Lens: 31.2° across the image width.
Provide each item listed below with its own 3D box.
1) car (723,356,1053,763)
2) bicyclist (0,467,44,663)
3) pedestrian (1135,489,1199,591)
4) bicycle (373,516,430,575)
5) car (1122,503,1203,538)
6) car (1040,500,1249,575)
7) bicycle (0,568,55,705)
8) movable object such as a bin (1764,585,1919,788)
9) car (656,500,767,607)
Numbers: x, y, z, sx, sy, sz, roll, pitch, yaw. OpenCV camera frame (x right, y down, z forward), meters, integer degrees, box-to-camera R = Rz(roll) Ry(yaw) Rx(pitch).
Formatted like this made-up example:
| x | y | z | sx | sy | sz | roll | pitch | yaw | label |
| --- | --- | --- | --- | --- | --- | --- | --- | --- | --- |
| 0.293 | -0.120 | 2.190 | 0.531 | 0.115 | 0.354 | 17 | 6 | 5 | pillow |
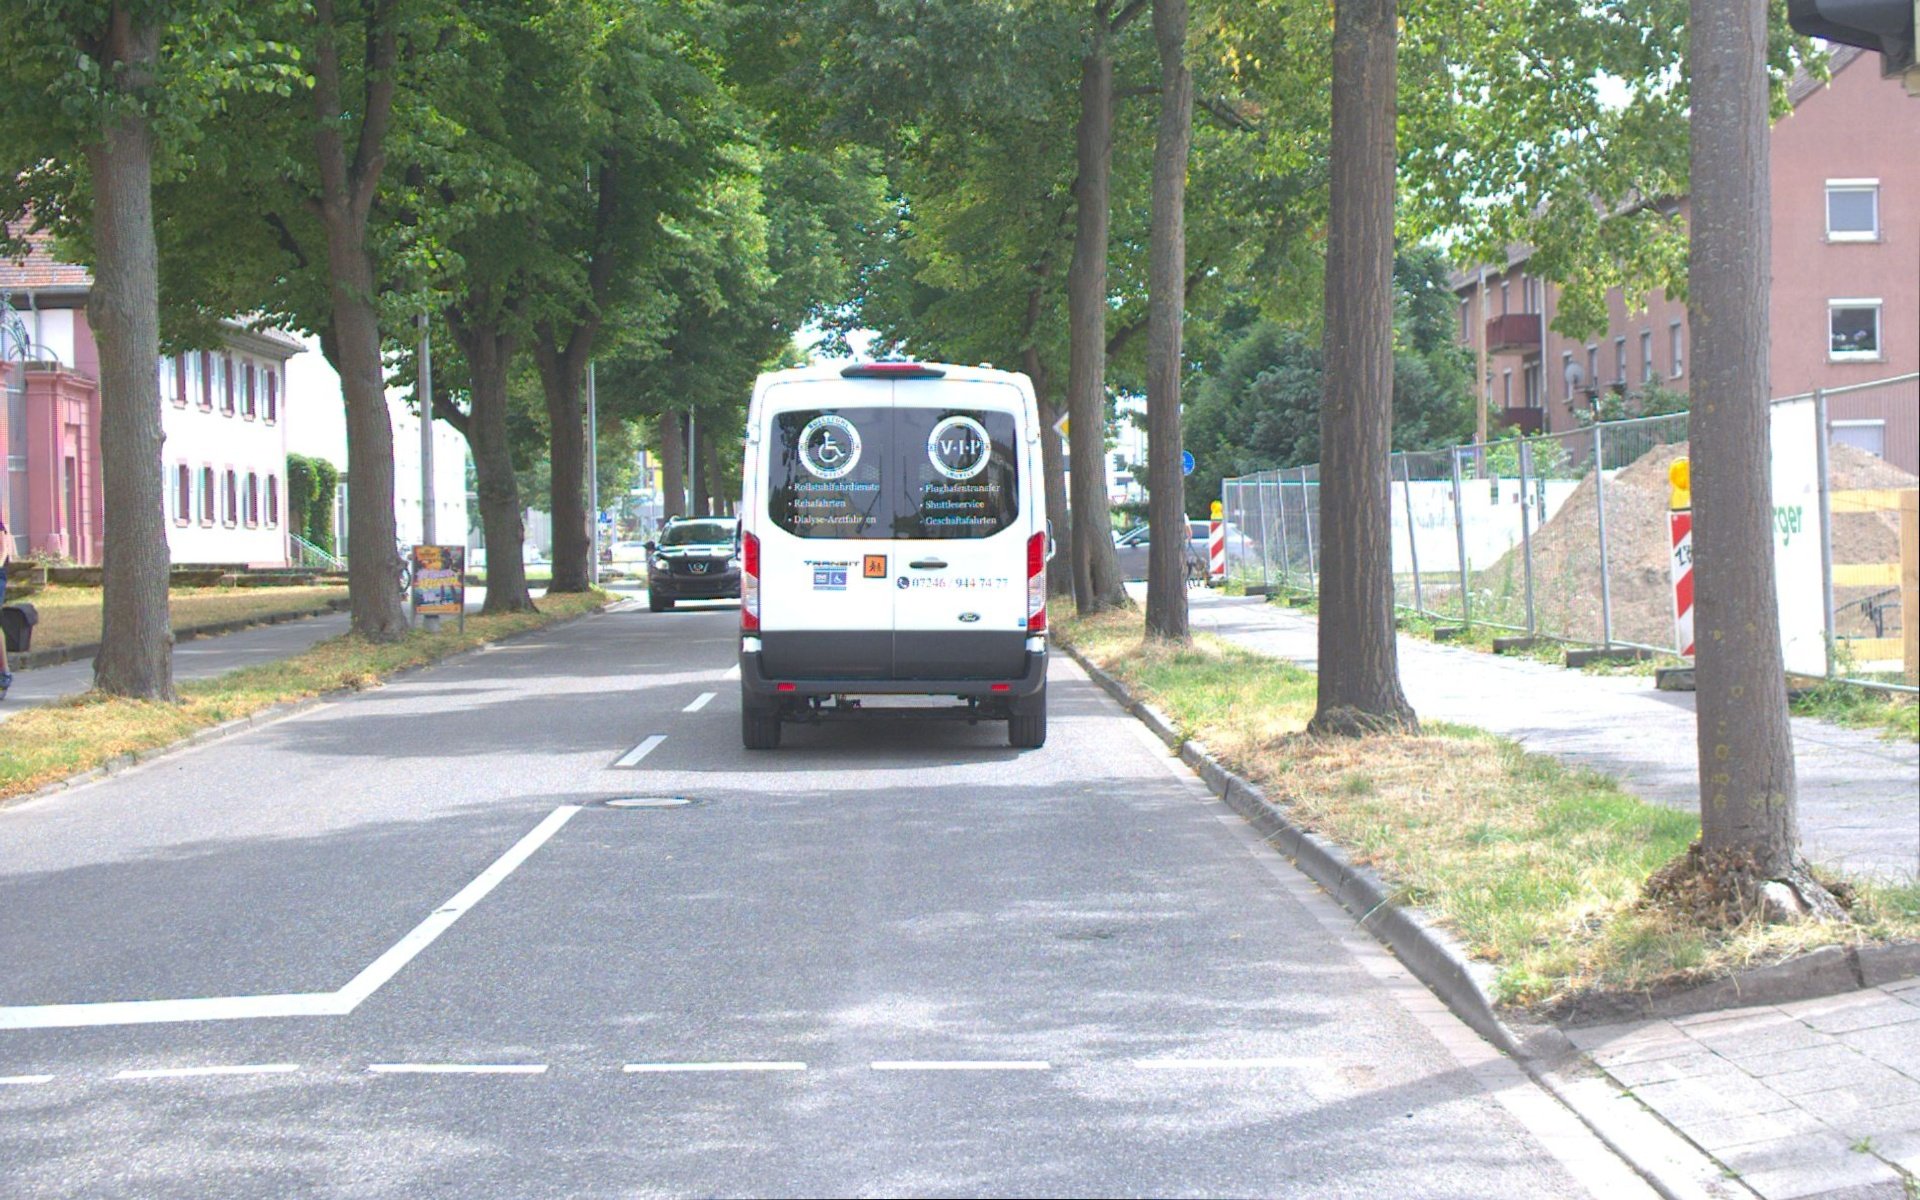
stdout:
| x | y | z | sx | sy | sz | roll | pitch | yaw | label |
| --- | --- | --- | --- | --- | --- | --- | --- | --- | --- |
| -0.582 | -0.296 | 23.462 | 2.062 | 2.531 | 4.001 | 0 | 1 | -4 | car |
| -8.379 | -0.322 | 29.486 | 0.722 | 1.650 | 0.958 | 3 | 1 | -1 | bicyclist |
| 3.752 | -1.091 | 62.162 | 0.883 | 1.808 | 0.888 | -2 | 1 | 18 | pedestrian |
| -10.746 | -1.060 | 66.157 | 0.722 | 1.091 | 2.225 | 3 | 1 | -1 | bicycle |
| 12.001 | -4.714 | 203.907 | 4.407 | 1.810 | 2.009 | -2 | 1 | 38 | car |
| 3.934 | -1.336 | 73.767 | 4.371 | 1.438 | 2.011 | -2 | -1 | 1 | car |
| -8.403 | 0.299 | 29.453 | 0.722 | 1.091 | 2.151 | 3 | 1 | -1 | bicycle |
| 13.522 | 1.111 | 47.281 | 4.685 | 2.581 | 3.131 | -2 | 1 | 14 | movable object such as a bin |
| -4.277 | -0.835 | 59.376 | 1.771 | 1.653 | 4.258 | -2 | 2 | -4 | car |
